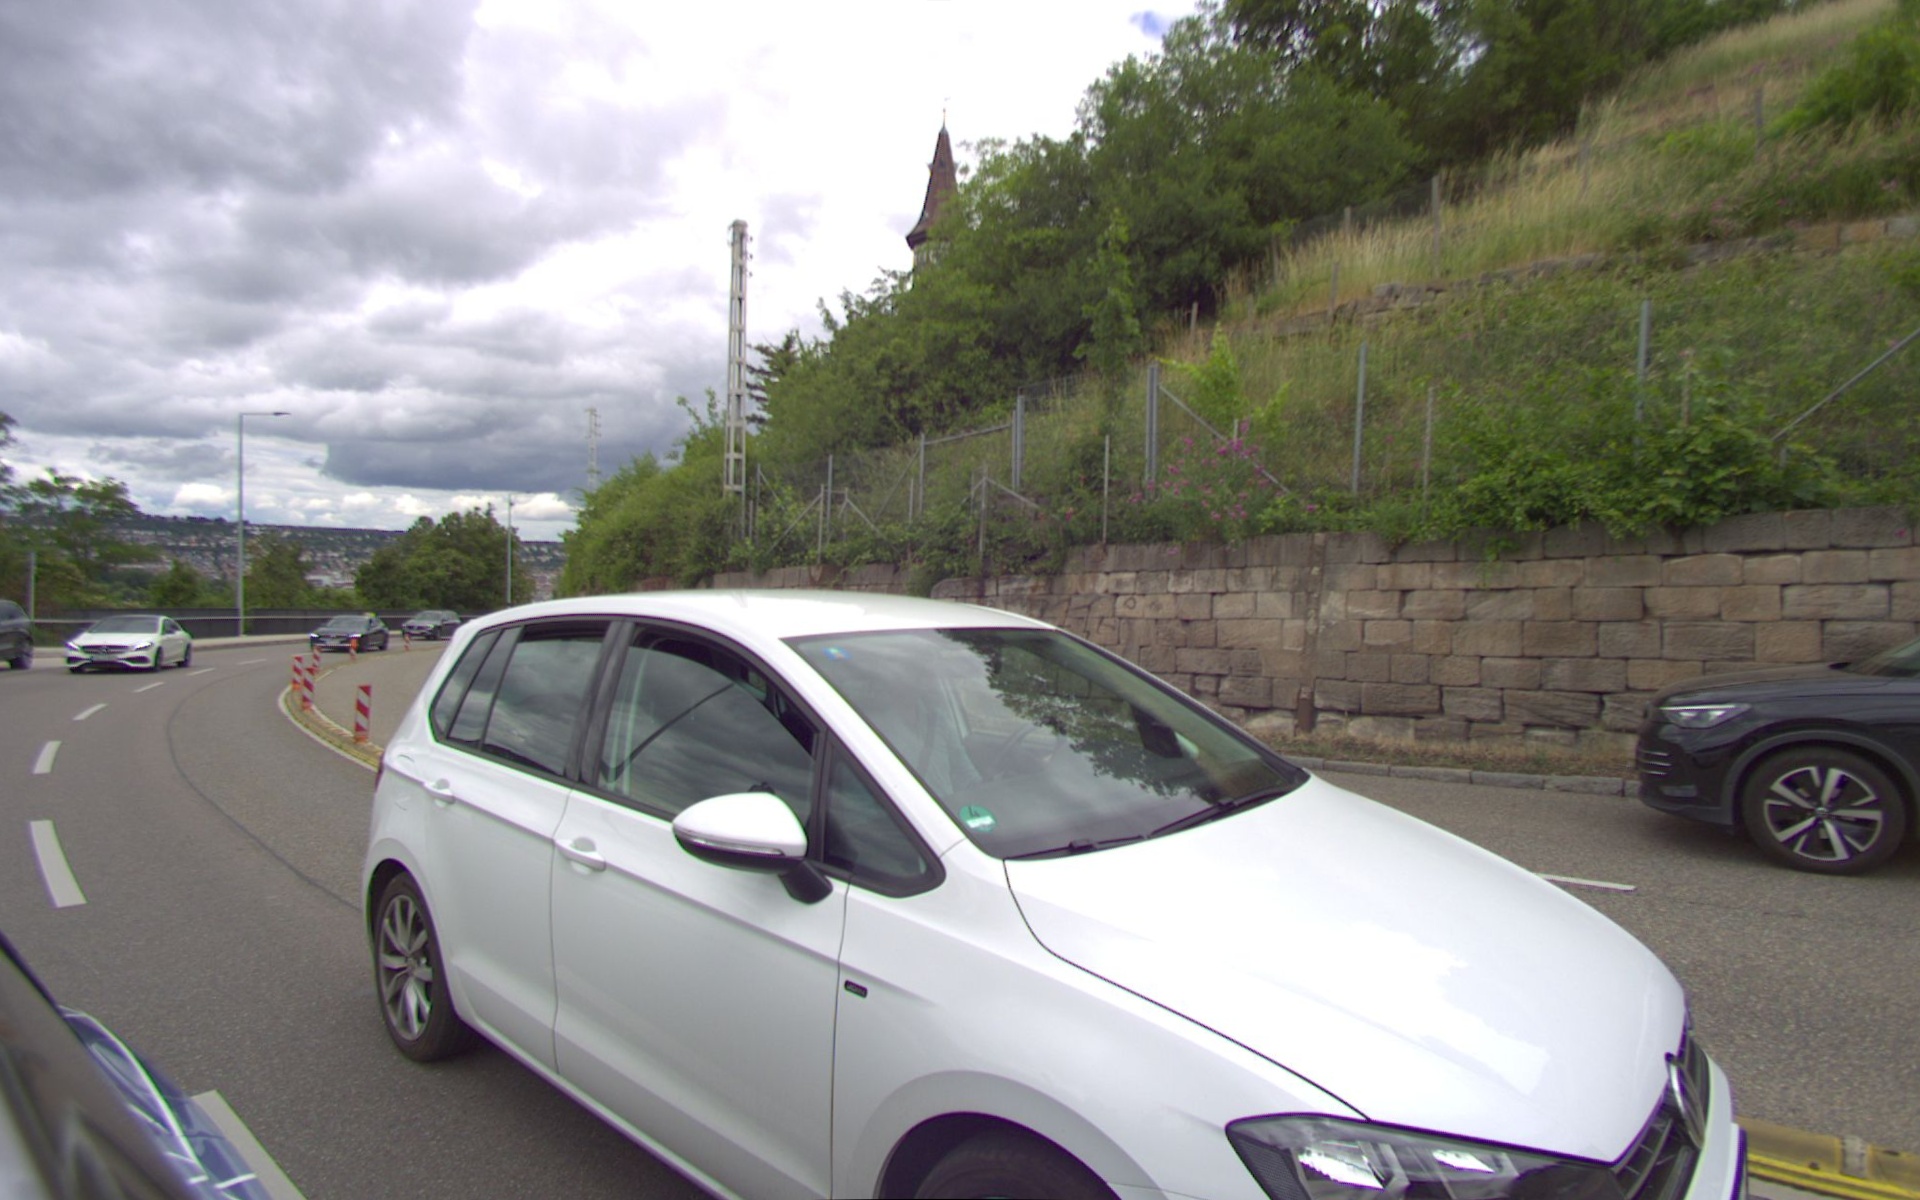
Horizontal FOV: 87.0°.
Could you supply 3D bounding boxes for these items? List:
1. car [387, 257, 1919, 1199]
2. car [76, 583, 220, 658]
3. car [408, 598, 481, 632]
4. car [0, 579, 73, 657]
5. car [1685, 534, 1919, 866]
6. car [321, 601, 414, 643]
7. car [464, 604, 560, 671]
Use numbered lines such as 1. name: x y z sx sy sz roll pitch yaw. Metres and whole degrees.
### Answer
1. car: 0.037 0.517 2.901 4.358 1.592 1.800 -1 0 45
2. car: -20.910 0.501 26.263 1.965 1.731 4.013 3 -1 -26
3. car: -29.081 0.853 57.259 1.970 1.683 4.542 4 -1 -4
4. car: -23.223 0.353 24.054 1.965 1.731 5.066 3 -1 -27
5. car: 6.587 0.502 5.307 4.453 1.739 1.827 -1 -1 35
6. car: -23.914 0.862 41.038 1.871 1.505 4.150 4 -1 -10
7. car: -11.660 0.922 26.227 1.678 1.560 4.012 3 -1 -32
